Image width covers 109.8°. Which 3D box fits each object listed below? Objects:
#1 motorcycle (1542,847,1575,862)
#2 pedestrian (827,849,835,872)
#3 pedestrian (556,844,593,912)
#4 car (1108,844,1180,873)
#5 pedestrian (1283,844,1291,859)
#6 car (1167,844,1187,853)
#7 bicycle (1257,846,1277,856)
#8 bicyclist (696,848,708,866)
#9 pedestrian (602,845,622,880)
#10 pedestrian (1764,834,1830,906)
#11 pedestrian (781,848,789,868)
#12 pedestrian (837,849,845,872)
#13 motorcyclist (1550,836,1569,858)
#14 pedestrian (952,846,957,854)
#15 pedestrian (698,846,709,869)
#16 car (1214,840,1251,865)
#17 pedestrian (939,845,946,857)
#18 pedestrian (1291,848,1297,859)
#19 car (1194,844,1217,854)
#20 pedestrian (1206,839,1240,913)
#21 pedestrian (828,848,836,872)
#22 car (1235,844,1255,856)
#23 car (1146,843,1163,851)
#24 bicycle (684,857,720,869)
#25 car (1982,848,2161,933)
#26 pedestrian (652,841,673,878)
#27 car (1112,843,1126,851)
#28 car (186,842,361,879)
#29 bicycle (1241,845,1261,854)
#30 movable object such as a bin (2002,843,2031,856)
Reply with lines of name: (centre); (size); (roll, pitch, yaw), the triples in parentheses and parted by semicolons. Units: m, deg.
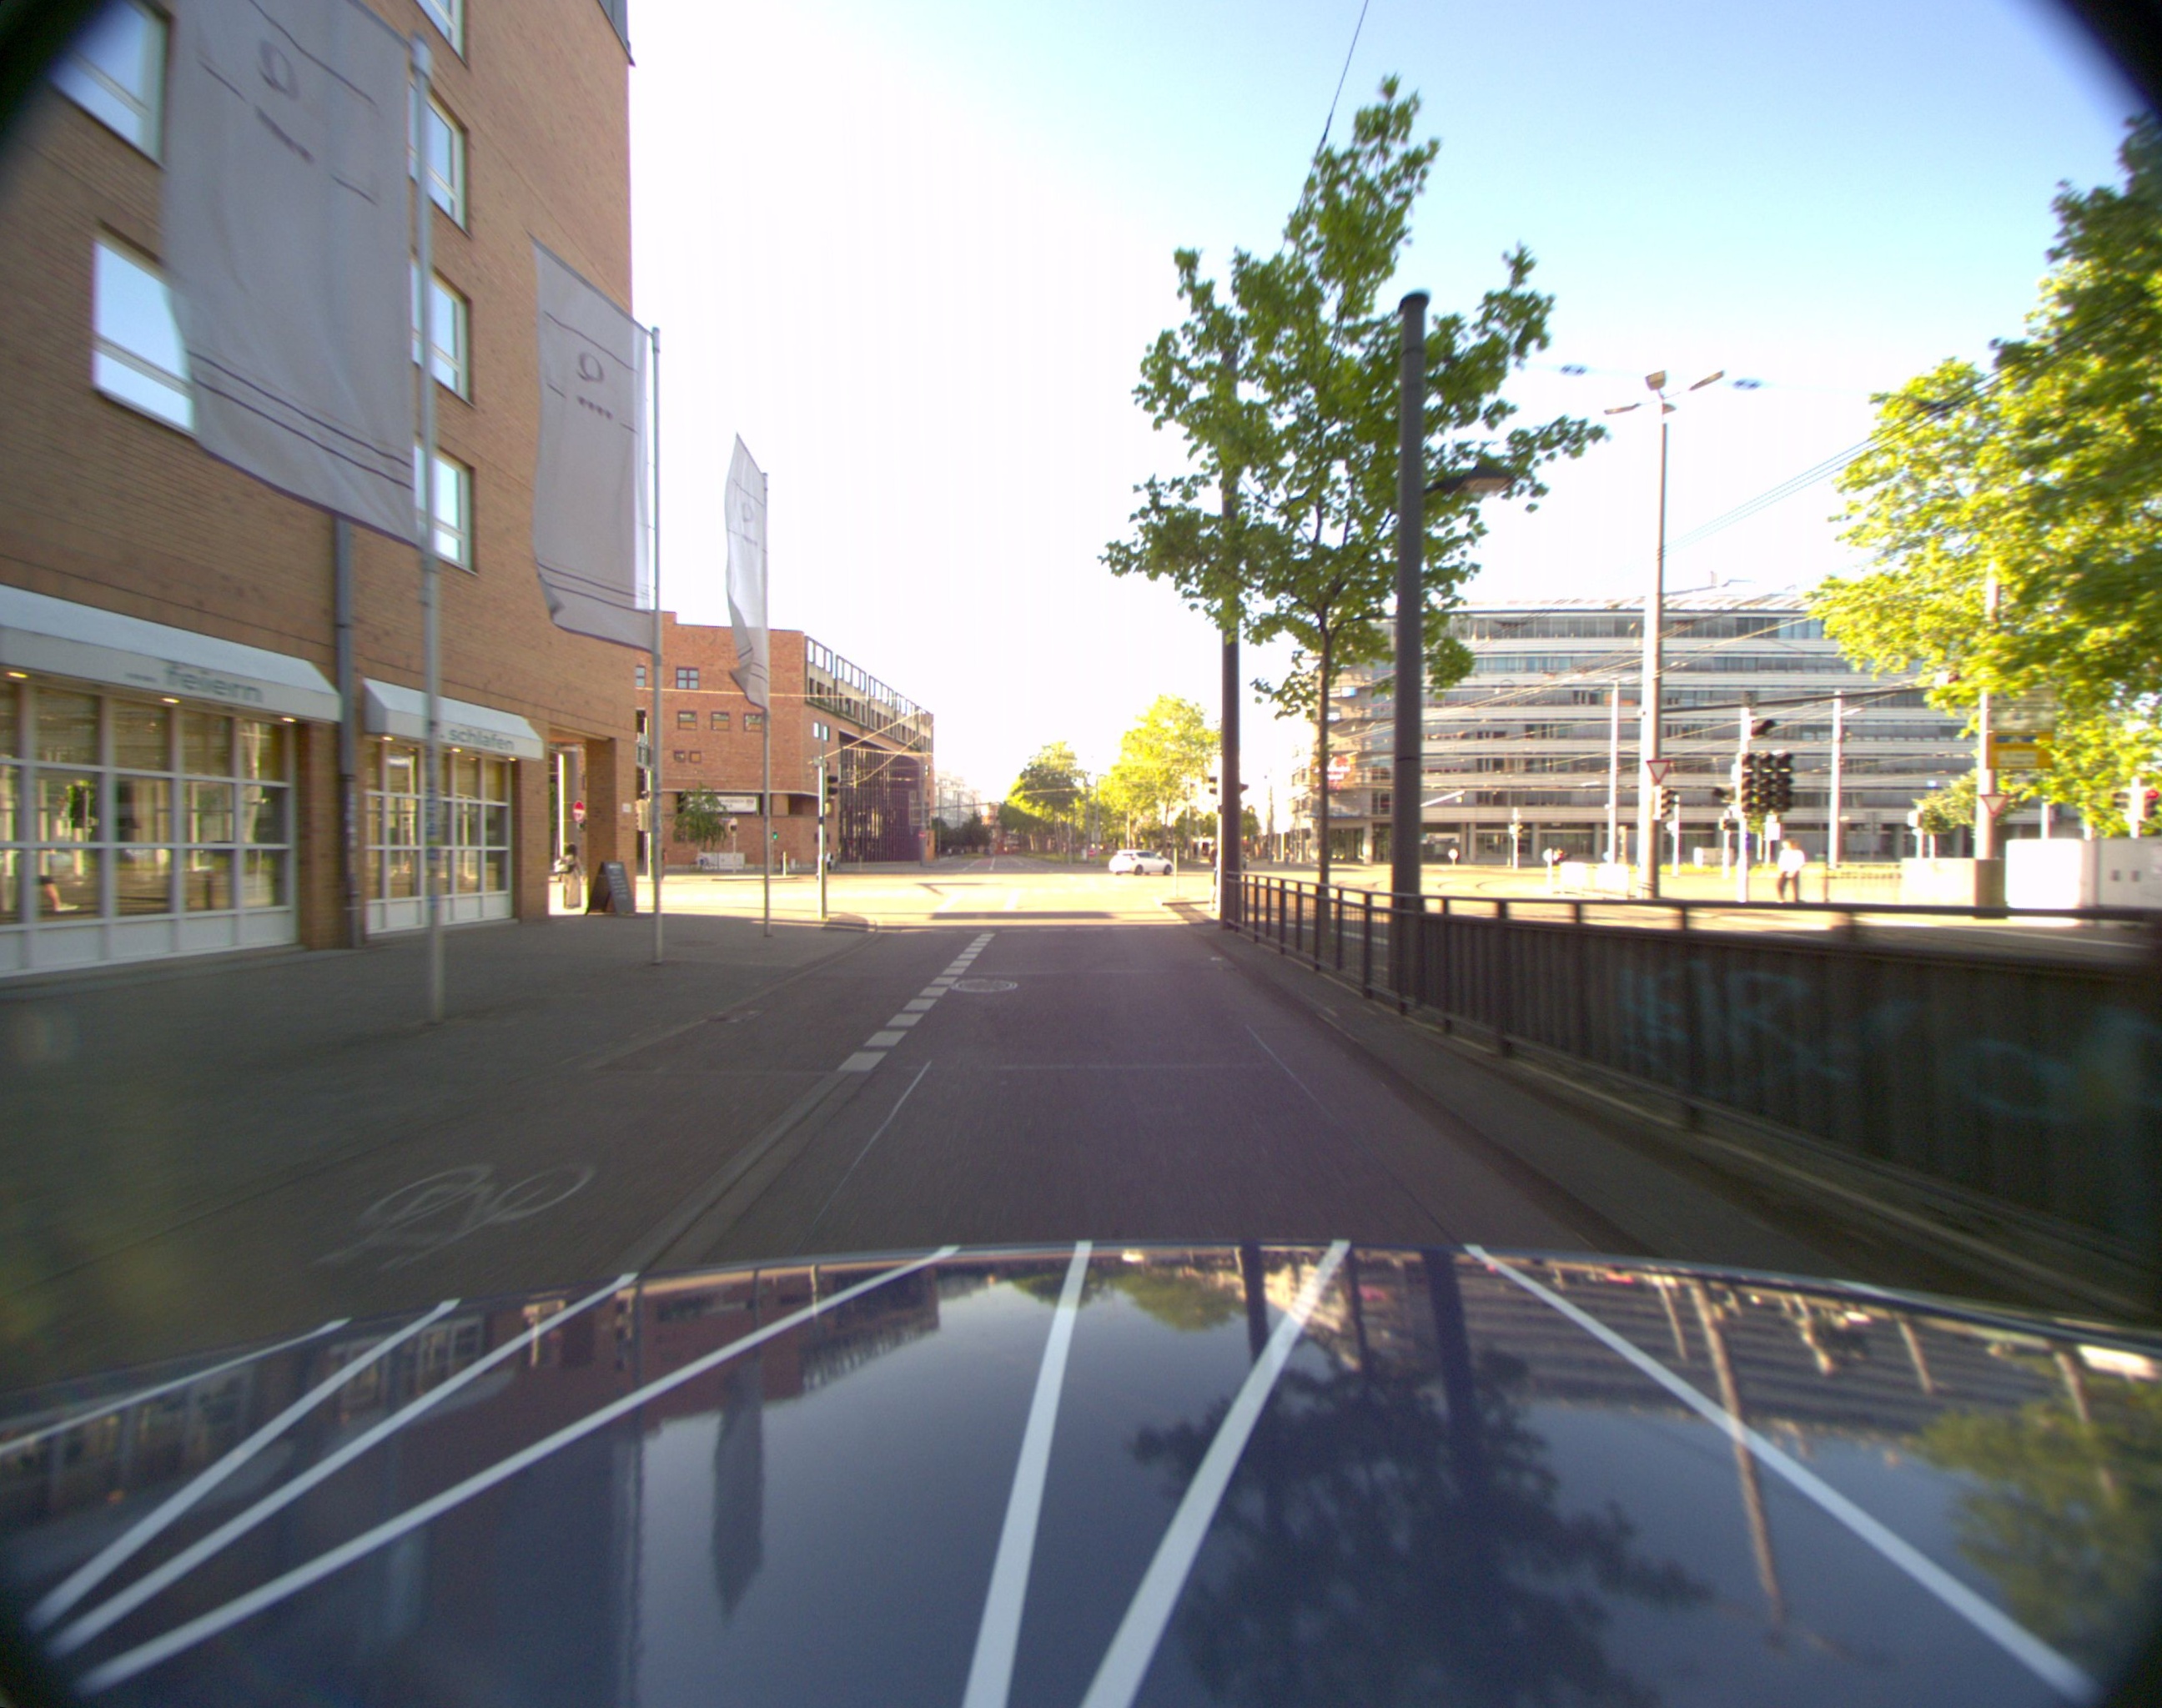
motorcycle: (40.616, 0.040, 64.600); (2.254, 1.214, 0.821); (0, 2, 0)
pedestrian: (-19.728, 0.511, 59.903); (0.549, 1.776, 0.572); (-1, 2, -15)
pedestrian: (-12.697, 0.573, 19.037); (0.742, 1.656, 0.751); (0, 2, -35)
car: (3.730, 0.227, 44.506); (4.306, 1.440, 1.839); (-3, 4, -45)
pedestrian: (21.600, -0.272, 79.611); (0.660, 1.631, 0.793); (1, 1, 0)
car: (15.330, -0.884, 121.625); (1.868, 1.466, 3.972); (0, 1, -12)
bicycle: (22.998, -0.379, 93.949); (2.391, 1.207, 0.775); (1, 0, 6)
bicyclist: (-29.350, 0.242, 58.879); (0.652, 1.332, 0.647); (0, 1, -6)
pedestrian: (-21.579, 0.384, 34.977); (0.647, 1.568, 0.581); (-1, 2, -21)
pedestrian: (17.217, 0.365, 18.283); (0.830, 1.670, 0.717); (2, 2, 10)
pedestrian: (-22.917, 0.303, 58.817); (0.574, 1.468, 0.548); (0, 1, -25)
pedestrian: (-18.915, 0.503, 59.808); (0.549, 1.776, 0.572); (-1, 2, -15)
motorcyclist: (40.656, -0.617, 64.579); (1.111, 1.847, 0.821); (0, 2, 0)
pedestrian: (-21.865, -0.672, 130.946); (0.812, 1.376, 0.687); (0, 1, -5)
pedestrian: (-29.858, 0.268, 60.161); (0.573, 1.776, 0.549); (2, 1, -5)
car: (12.018, -0.155, 60.146); (1.840, 1.826, 4.113); (1, 3, 26)
pedestrian: (-18.984, -0.415, 103.917); (0.813, 1.597, 0.686); (0, 1, -20)
pedestrian: (22.155, -0.041, 79.137); (0.443, 1.203, 0.462); (1, 1, 0)
car: (18.147, -0.693, 110.806); (1.868, 1.466, 3.972); (0, 1, -12)
pedestrian: (3.317, 0.503, 17.783); (0.715, 1.670, 0.832); (2, 2, 9)
pedestrian: (-19.013, 0.452, 58.033); (0.549, 1.776, 0.572); (-1, 2, -15)
car: (19.811, -0.464, 91.945); (1.865, 1.466, 3.978); (0, 1, 5)
car: (13.343, -1.224, 138.616); (1.868, 1.466, 3.972); (0, 1, -12)
bicycle: (-29.358, 0.684, 58.891); (2.345, 0.899, 0.650); (0, 1, -6)
car: (19.387, 0.638, 13.636); (1.670, 1.406, 3.999); (0, 2, 0)
pedestrian: (-19.751, 0.268, 35.881); (0.594, 1.717, 0.723); (0, 2, -6)
car: (7.216, -1.307, 143.726); (1.867, 1.466, 3.974); (0, 1, -8)
car: (-30.342, 0.210, 28.697); (4.230, 1.261, 1.842); (0, 3, -9)
bicycle: (22.001, -0.570, 98.431); (2.396, 1.207, 0.774); (1, 0, -15)
movable object such as a bin: (92.237, -0.457, 74.907); (1.327, 1.294, 1.174); (0, 1, 3)
